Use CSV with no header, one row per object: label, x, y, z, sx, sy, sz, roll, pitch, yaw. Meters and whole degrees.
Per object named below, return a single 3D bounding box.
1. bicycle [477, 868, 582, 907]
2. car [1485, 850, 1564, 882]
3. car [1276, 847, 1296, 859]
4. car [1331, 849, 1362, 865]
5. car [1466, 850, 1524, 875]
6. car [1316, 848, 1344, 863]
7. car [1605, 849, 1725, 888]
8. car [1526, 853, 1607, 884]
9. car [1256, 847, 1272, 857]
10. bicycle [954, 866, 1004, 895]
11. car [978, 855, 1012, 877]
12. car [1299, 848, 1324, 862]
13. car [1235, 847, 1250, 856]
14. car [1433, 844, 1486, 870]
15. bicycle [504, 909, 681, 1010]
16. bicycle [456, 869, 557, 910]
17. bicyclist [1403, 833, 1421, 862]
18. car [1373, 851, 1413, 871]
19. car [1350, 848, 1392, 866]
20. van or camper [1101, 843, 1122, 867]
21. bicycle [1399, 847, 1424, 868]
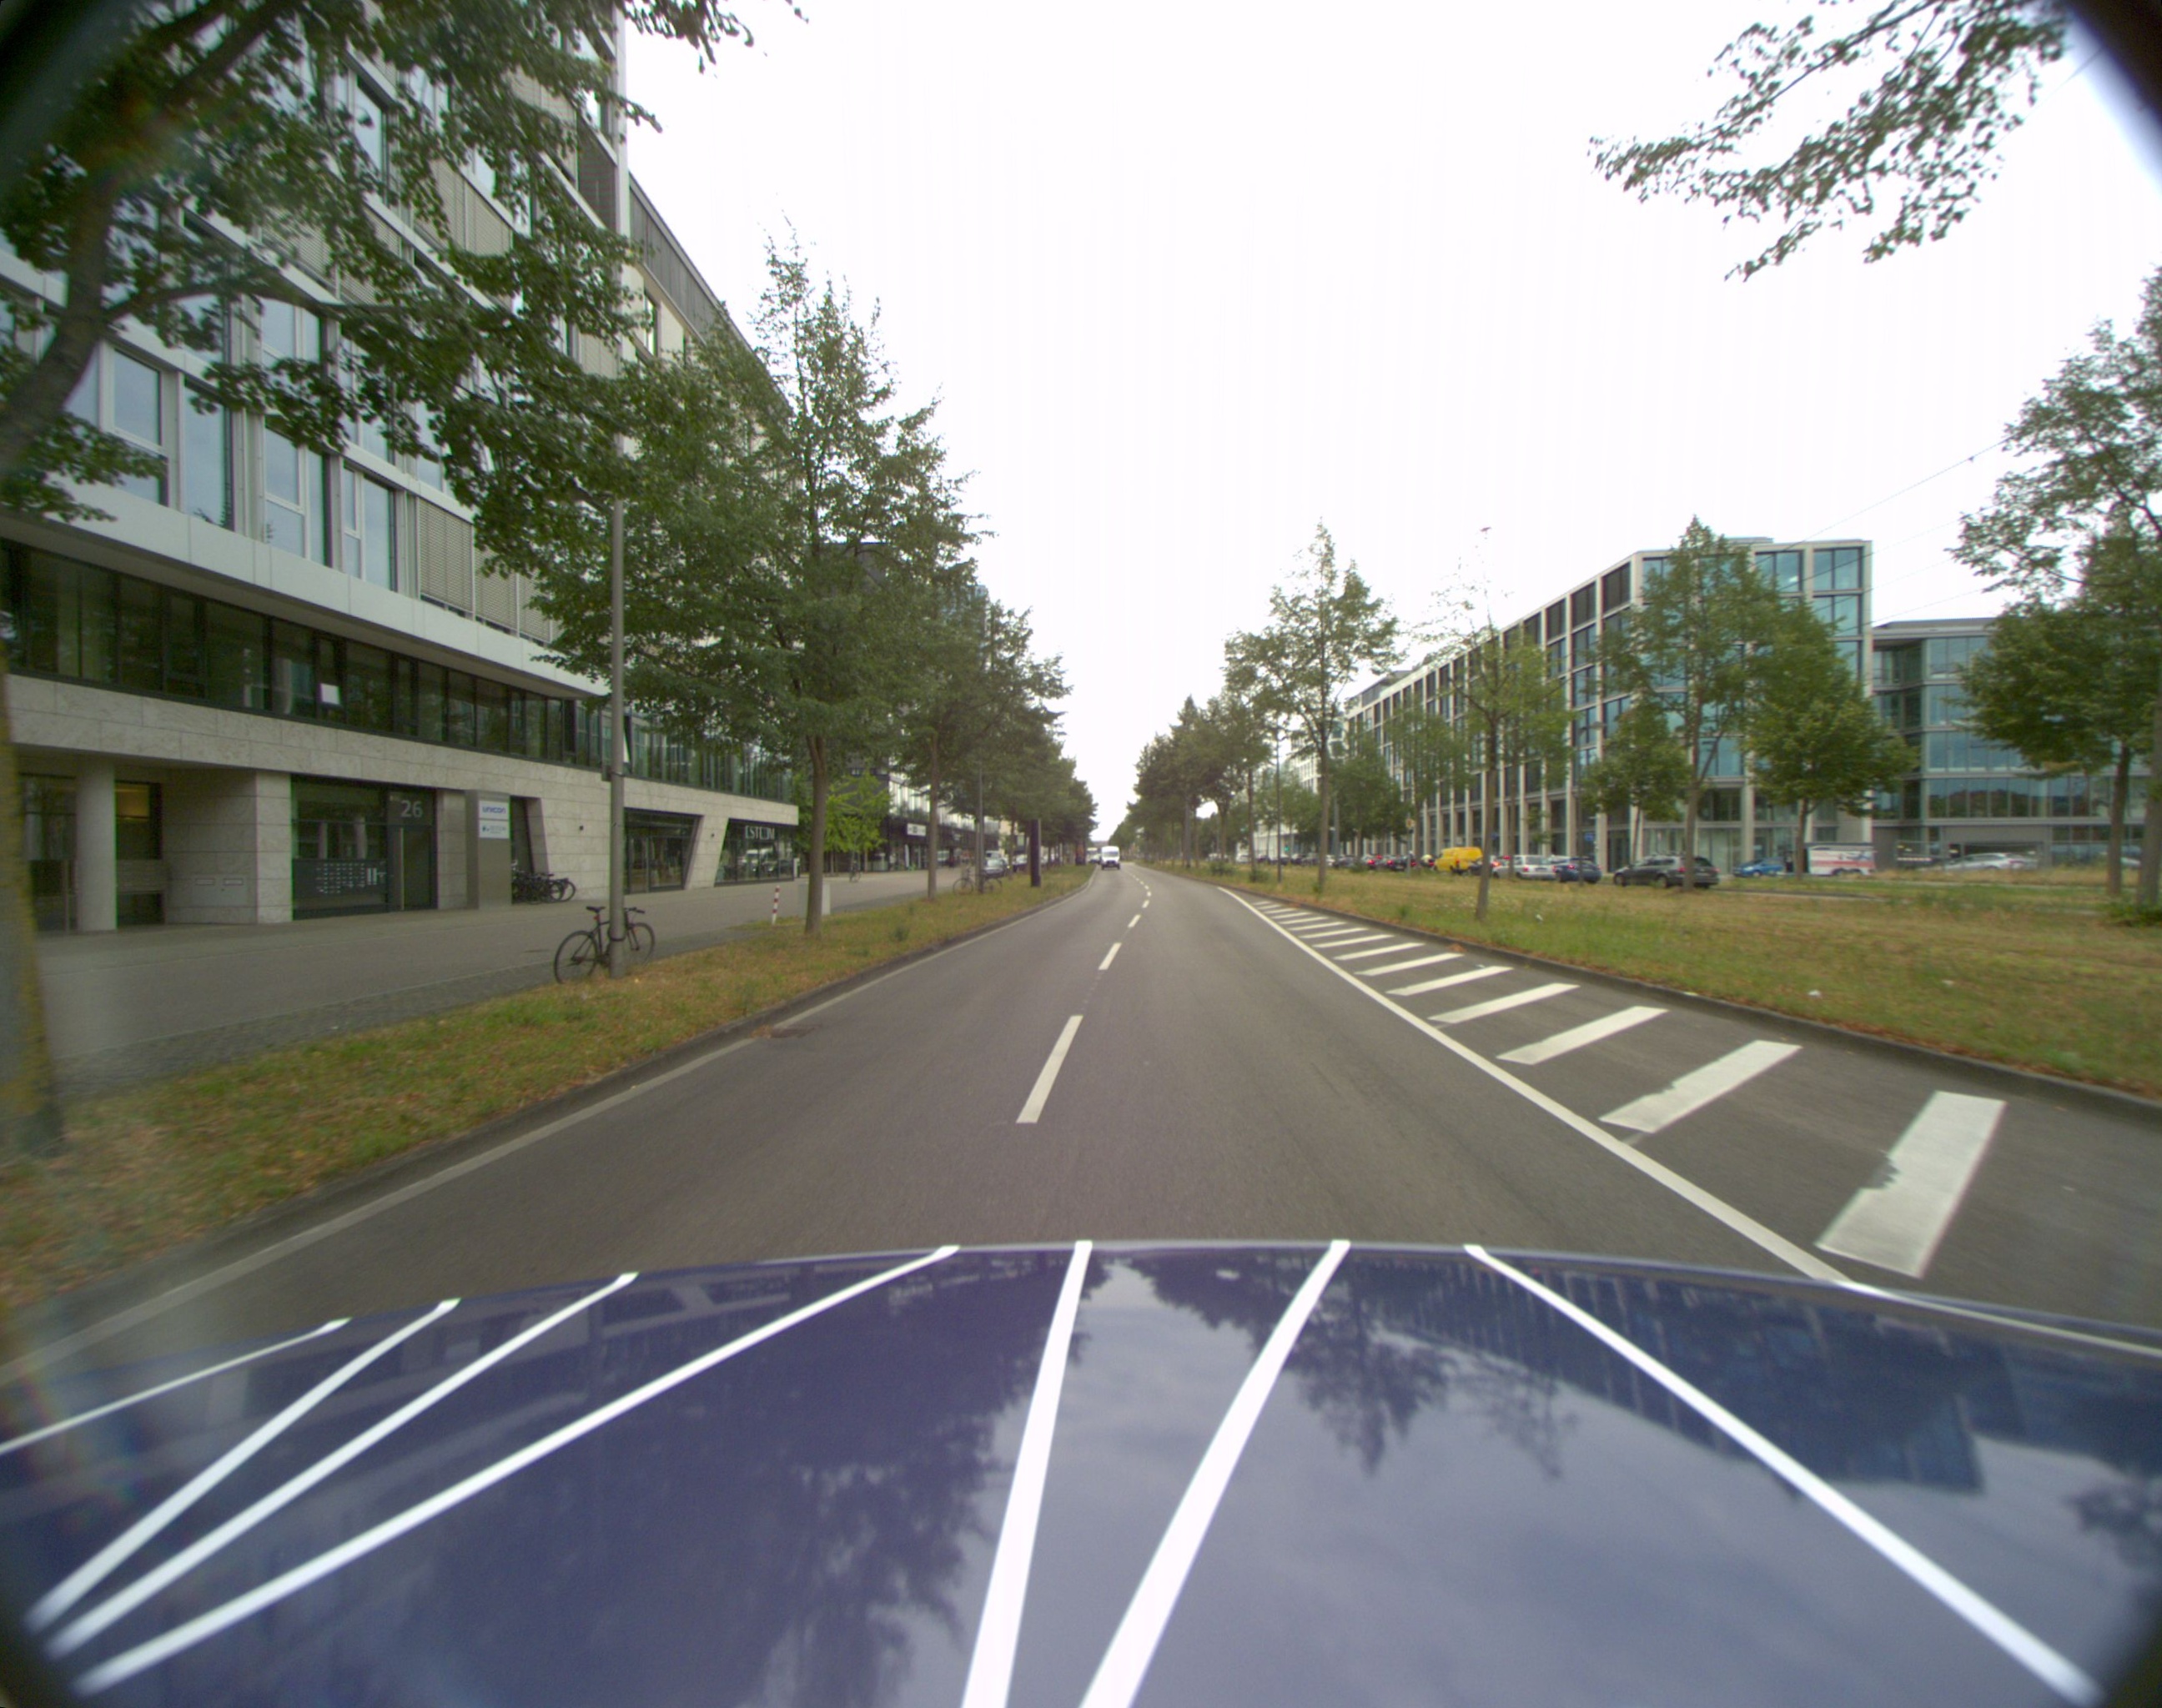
bicycle,-17.593,1.055,24.322,2.425,1.170,1.202,-1,1,-6
car,21.871,0.562,37.663,1.752,1.488,3.865,-1,0,2
car,26.606,-0.125,98.893,1.752,1.448,3.865,-1,0,3
car,25.096,0.248,71.933,1.752,1.448,3.865,-1,0,3
car,25.803,0.489,47.477,1.752,1.448,3.866,-1,0,4
car,25.551,0.150,78.034,1.752,1.448,3.865,-1,0,3
car,24.566,0.543,32.173,1.753,1.520,4.279,-1,0,0
car,24.798,0.704,38.980,1.752,1.488,3.865,-1,0,2
car,27.351,-0.313,113.602,1.752,1.448,3.865,-1,0,3
bicycle,-3.700,0.949,27.560,1.790,1.013,0.422,-1,1,-13
car,-6.308,0.834,56.061,1.954,1.521,4.000,-1,0,1
car,25.575,0.073,84.252,1.752,1.448,3.865,-1,0,3
car,26.942,-0.446,126.746,1.752,1.448,3.865,-1,0,3
car,26.922,0.193,54.240,1.956,1.761,4.445,-1,0,6
bicycle,-5.814,1.215,9.233,0.634,0.871,2.116,-3,1,3
bicycle,-17.423,1.065,23.091,2.238,1.170,0.975,-1,1,-6
bicyclist,23.642,-0.453,54.275,0.742,2.002,0.995,-3,1,-1
car,23.979,0.484,58.506,1.752,1.448,3.866,-1,0,4
car,24.306,0.230,63.776,1.998,1.410,4.000,-1,0,1
van or camper,3.323,0.055,83.740,2.183,2.494,6.339,-2,0,1
bicycle,23.662,0.269,54.490,0.711,1.479,2.358,-3,0,0
